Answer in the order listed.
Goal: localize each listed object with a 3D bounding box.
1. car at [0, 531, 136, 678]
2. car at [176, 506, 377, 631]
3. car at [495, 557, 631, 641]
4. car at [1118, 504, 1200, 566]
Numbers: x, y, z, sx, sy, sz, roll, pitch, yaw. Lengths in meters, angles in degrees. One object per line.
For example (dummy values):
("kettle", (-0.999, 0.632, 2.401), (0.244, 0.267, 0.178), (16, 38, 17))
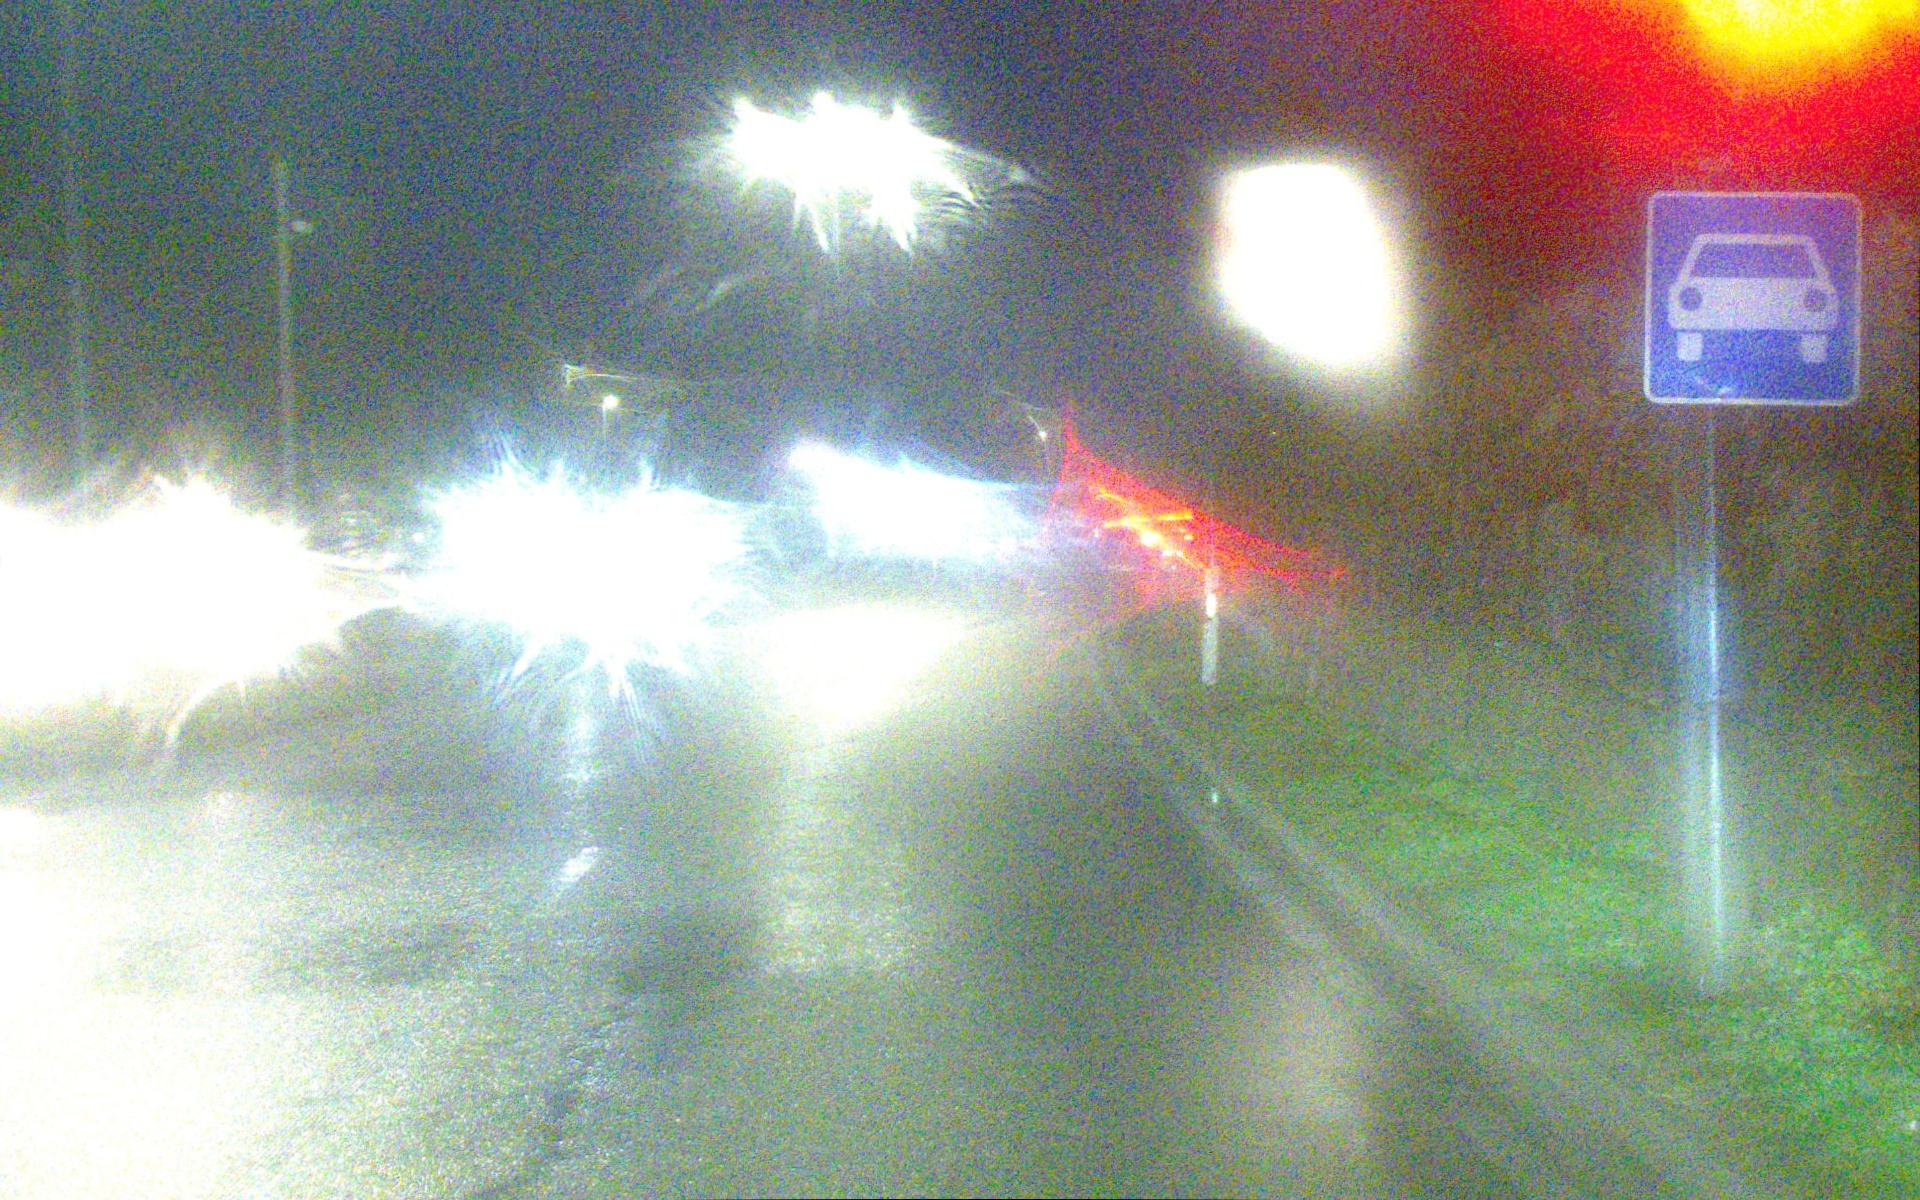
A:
("car", (-10.301, 0.042, 37.426), (1.585, 1.520, 3.651), (0, 0, 3))
("car", (-9.662, -0.443, 48.908), (1.718, 1.697, 4.142), (0, 0, 5))
("car", (-7.473, -0.028, 65.070), (1.708, 1.529, 4.599), (0, 0, 5))
("car", (5.445, -1.768, 94.448), (1.993, 1.605, 4.103), (0, 0, -1))
